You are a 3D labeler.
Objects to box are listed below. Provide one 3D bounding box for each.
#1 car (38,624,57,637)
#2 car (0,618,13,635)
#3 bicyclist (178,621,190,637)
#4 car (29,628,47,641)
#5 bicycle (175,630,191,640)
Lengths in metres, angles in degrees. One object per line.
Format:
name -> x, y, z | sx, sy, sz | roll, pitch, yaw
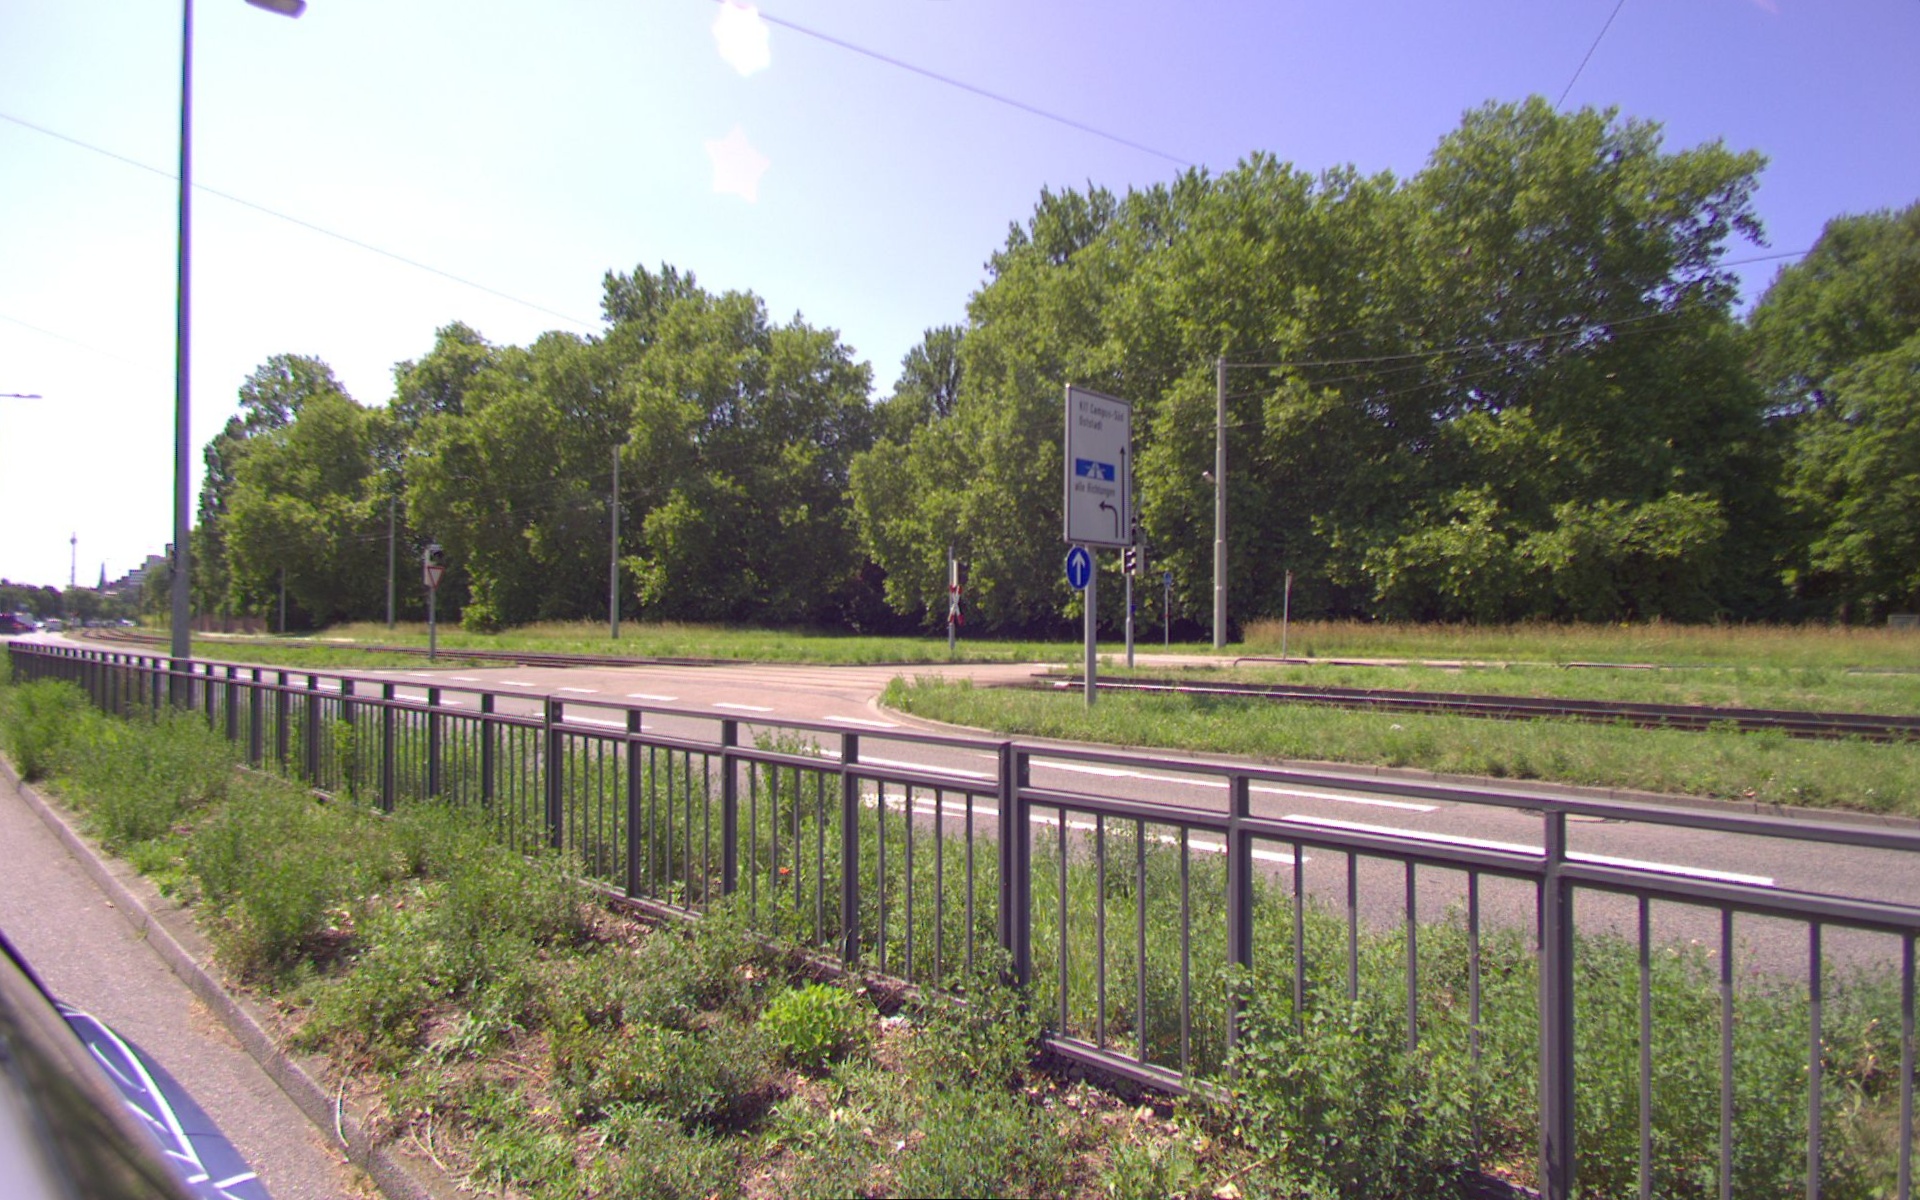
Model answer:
car -> -136.818, 4.571, 151.715 | 1.970, 1.871, 4.003 | 1, -2, -44
car -> -107.572, 2.968, 113.532 | 1.970, 1.871, 4.004 | 1, -2, -43
bicyclist -> -88.249, 3.313, 115.025 | 1.117, 1.820, 0.851 | -1, -2, 41
car -> -141.741, 5.254, 155.554 | 1.970, 1.871, 4.003 | 1, -2, -44
bicycle -> -88.303, 3.973, 115.026 | 2.785, 1.171, 0.851 | -1, -2, 41
